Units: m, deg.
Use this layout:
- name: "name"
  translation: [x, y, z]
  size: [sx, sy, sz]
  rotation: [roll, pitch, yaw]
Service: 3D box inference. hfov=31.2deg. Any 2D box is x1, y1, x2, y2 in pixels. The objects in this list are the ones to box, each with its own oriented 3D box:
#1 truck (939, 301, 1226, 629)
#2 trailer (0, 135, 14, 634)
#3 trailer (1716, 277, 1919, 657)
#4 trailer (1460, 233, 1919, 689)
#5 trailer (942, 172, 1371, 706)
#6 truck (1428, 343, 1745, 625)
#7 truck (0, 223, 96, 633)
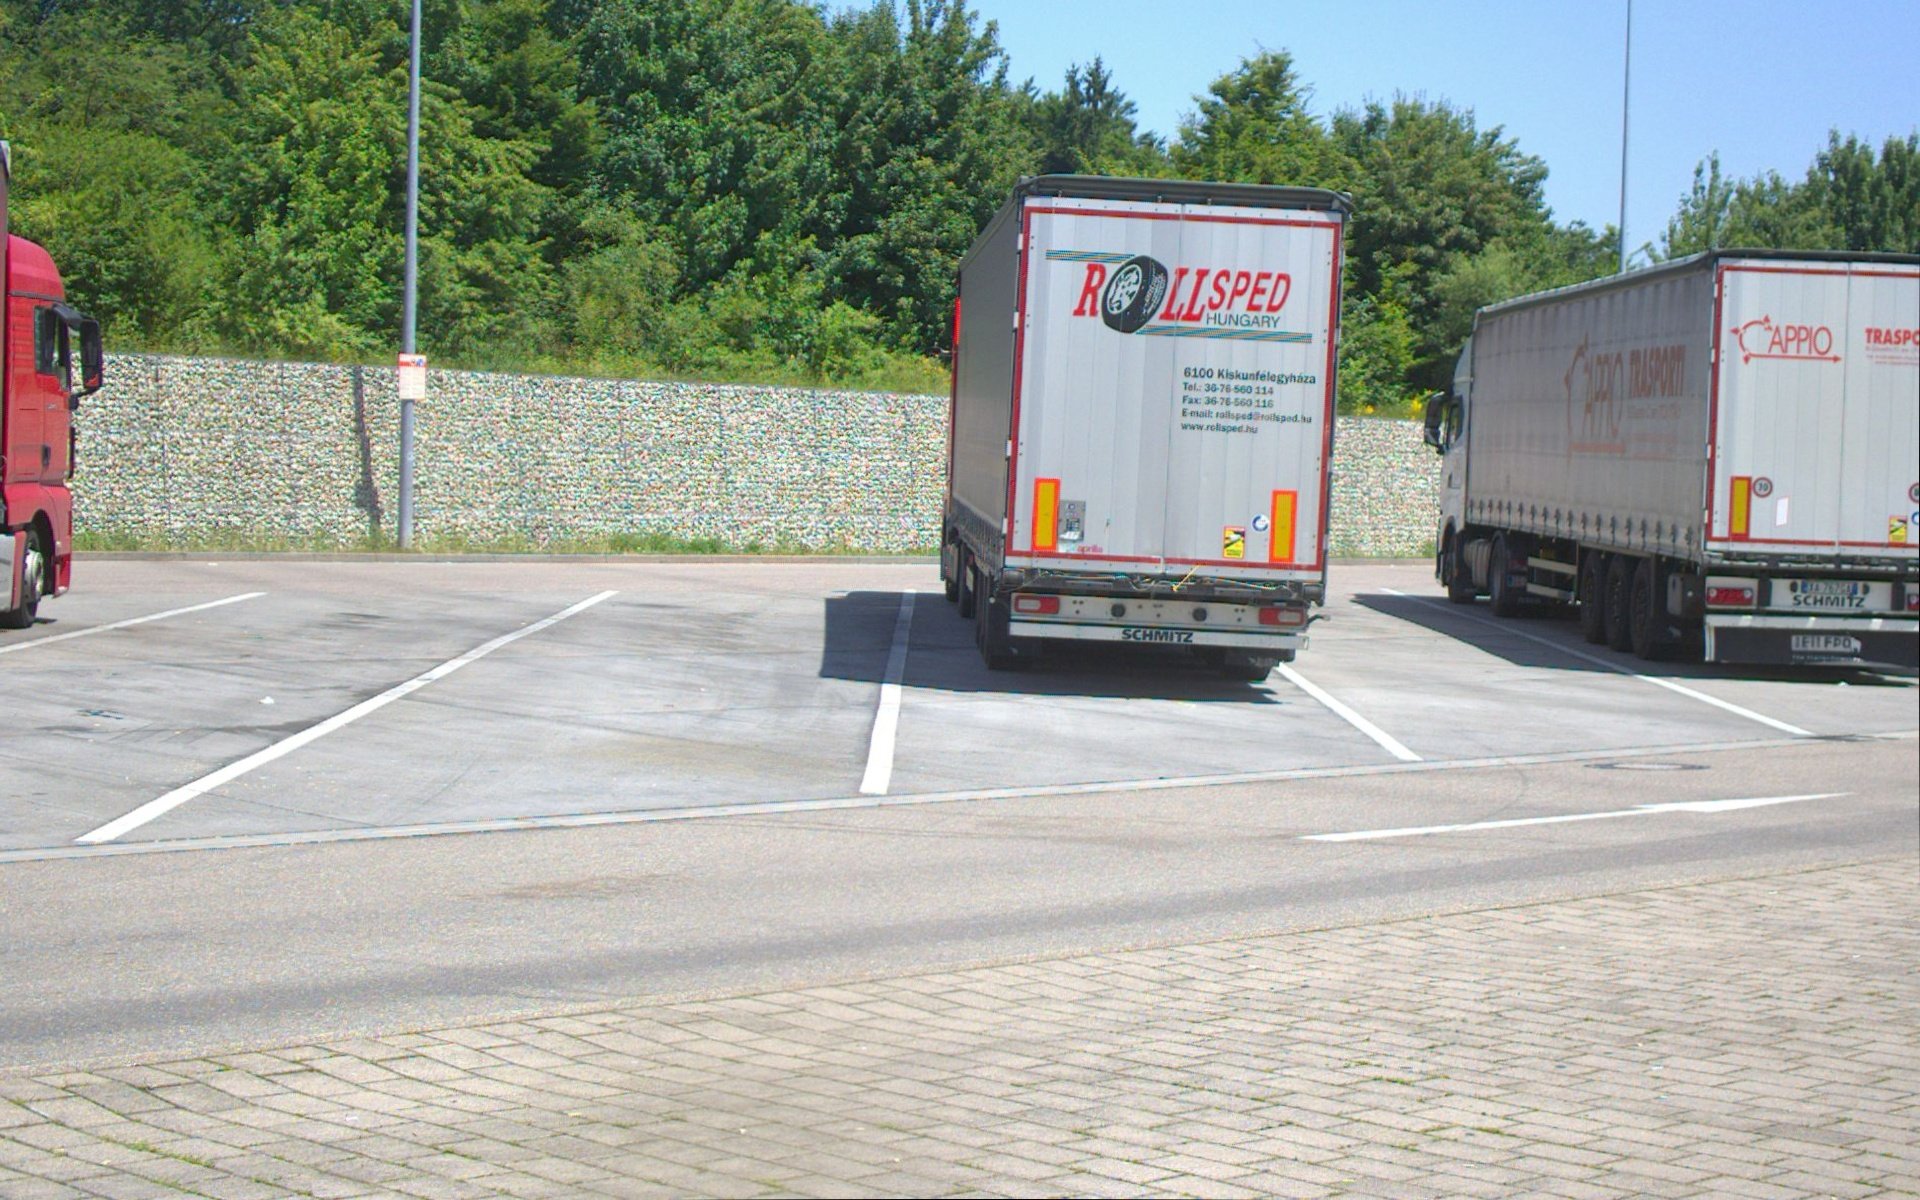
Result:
- name: "truck"
  translation: [1.274, -1.570, 39.310]
  size: [2.865, 3.351, 5.975]
  rotation: [2, 3, -1]
- name: "trailer"
  translation: [-9.165, -1.461, 21.368]
  size: [2.821, 4.057, 13.765]
  rotation: [2, 3, -1]
- name: "trailer"
  translation: [11.784, -1.503, 39.376]
  size: [2.858, 4.095, 13.765]
  rotation: [2, 3, -1]
- name: "trailer"
  translation: [8.187, -1.587, 38.363]
  size: [2.858, 4.095, 13.765]
  rotation: [2, 3, -1]
- name: "trailer"
  translation: [1.458, -1.565, 33.109]
  size: [2.858, 3.958, 13.765]
  rotation: [2, 3, -1]
- name: "truck"
  translation: [8.085, -1.567, 45.129]
  size: [2.865, 3.351, 5.975]
  rotation: [2, 3, -1]
- name: "truck"
  translation: [-9.253, -1.451, 28.187]
  size: [2.812, 3.351, 5.975]
  rotation: [2, 3, -1]
